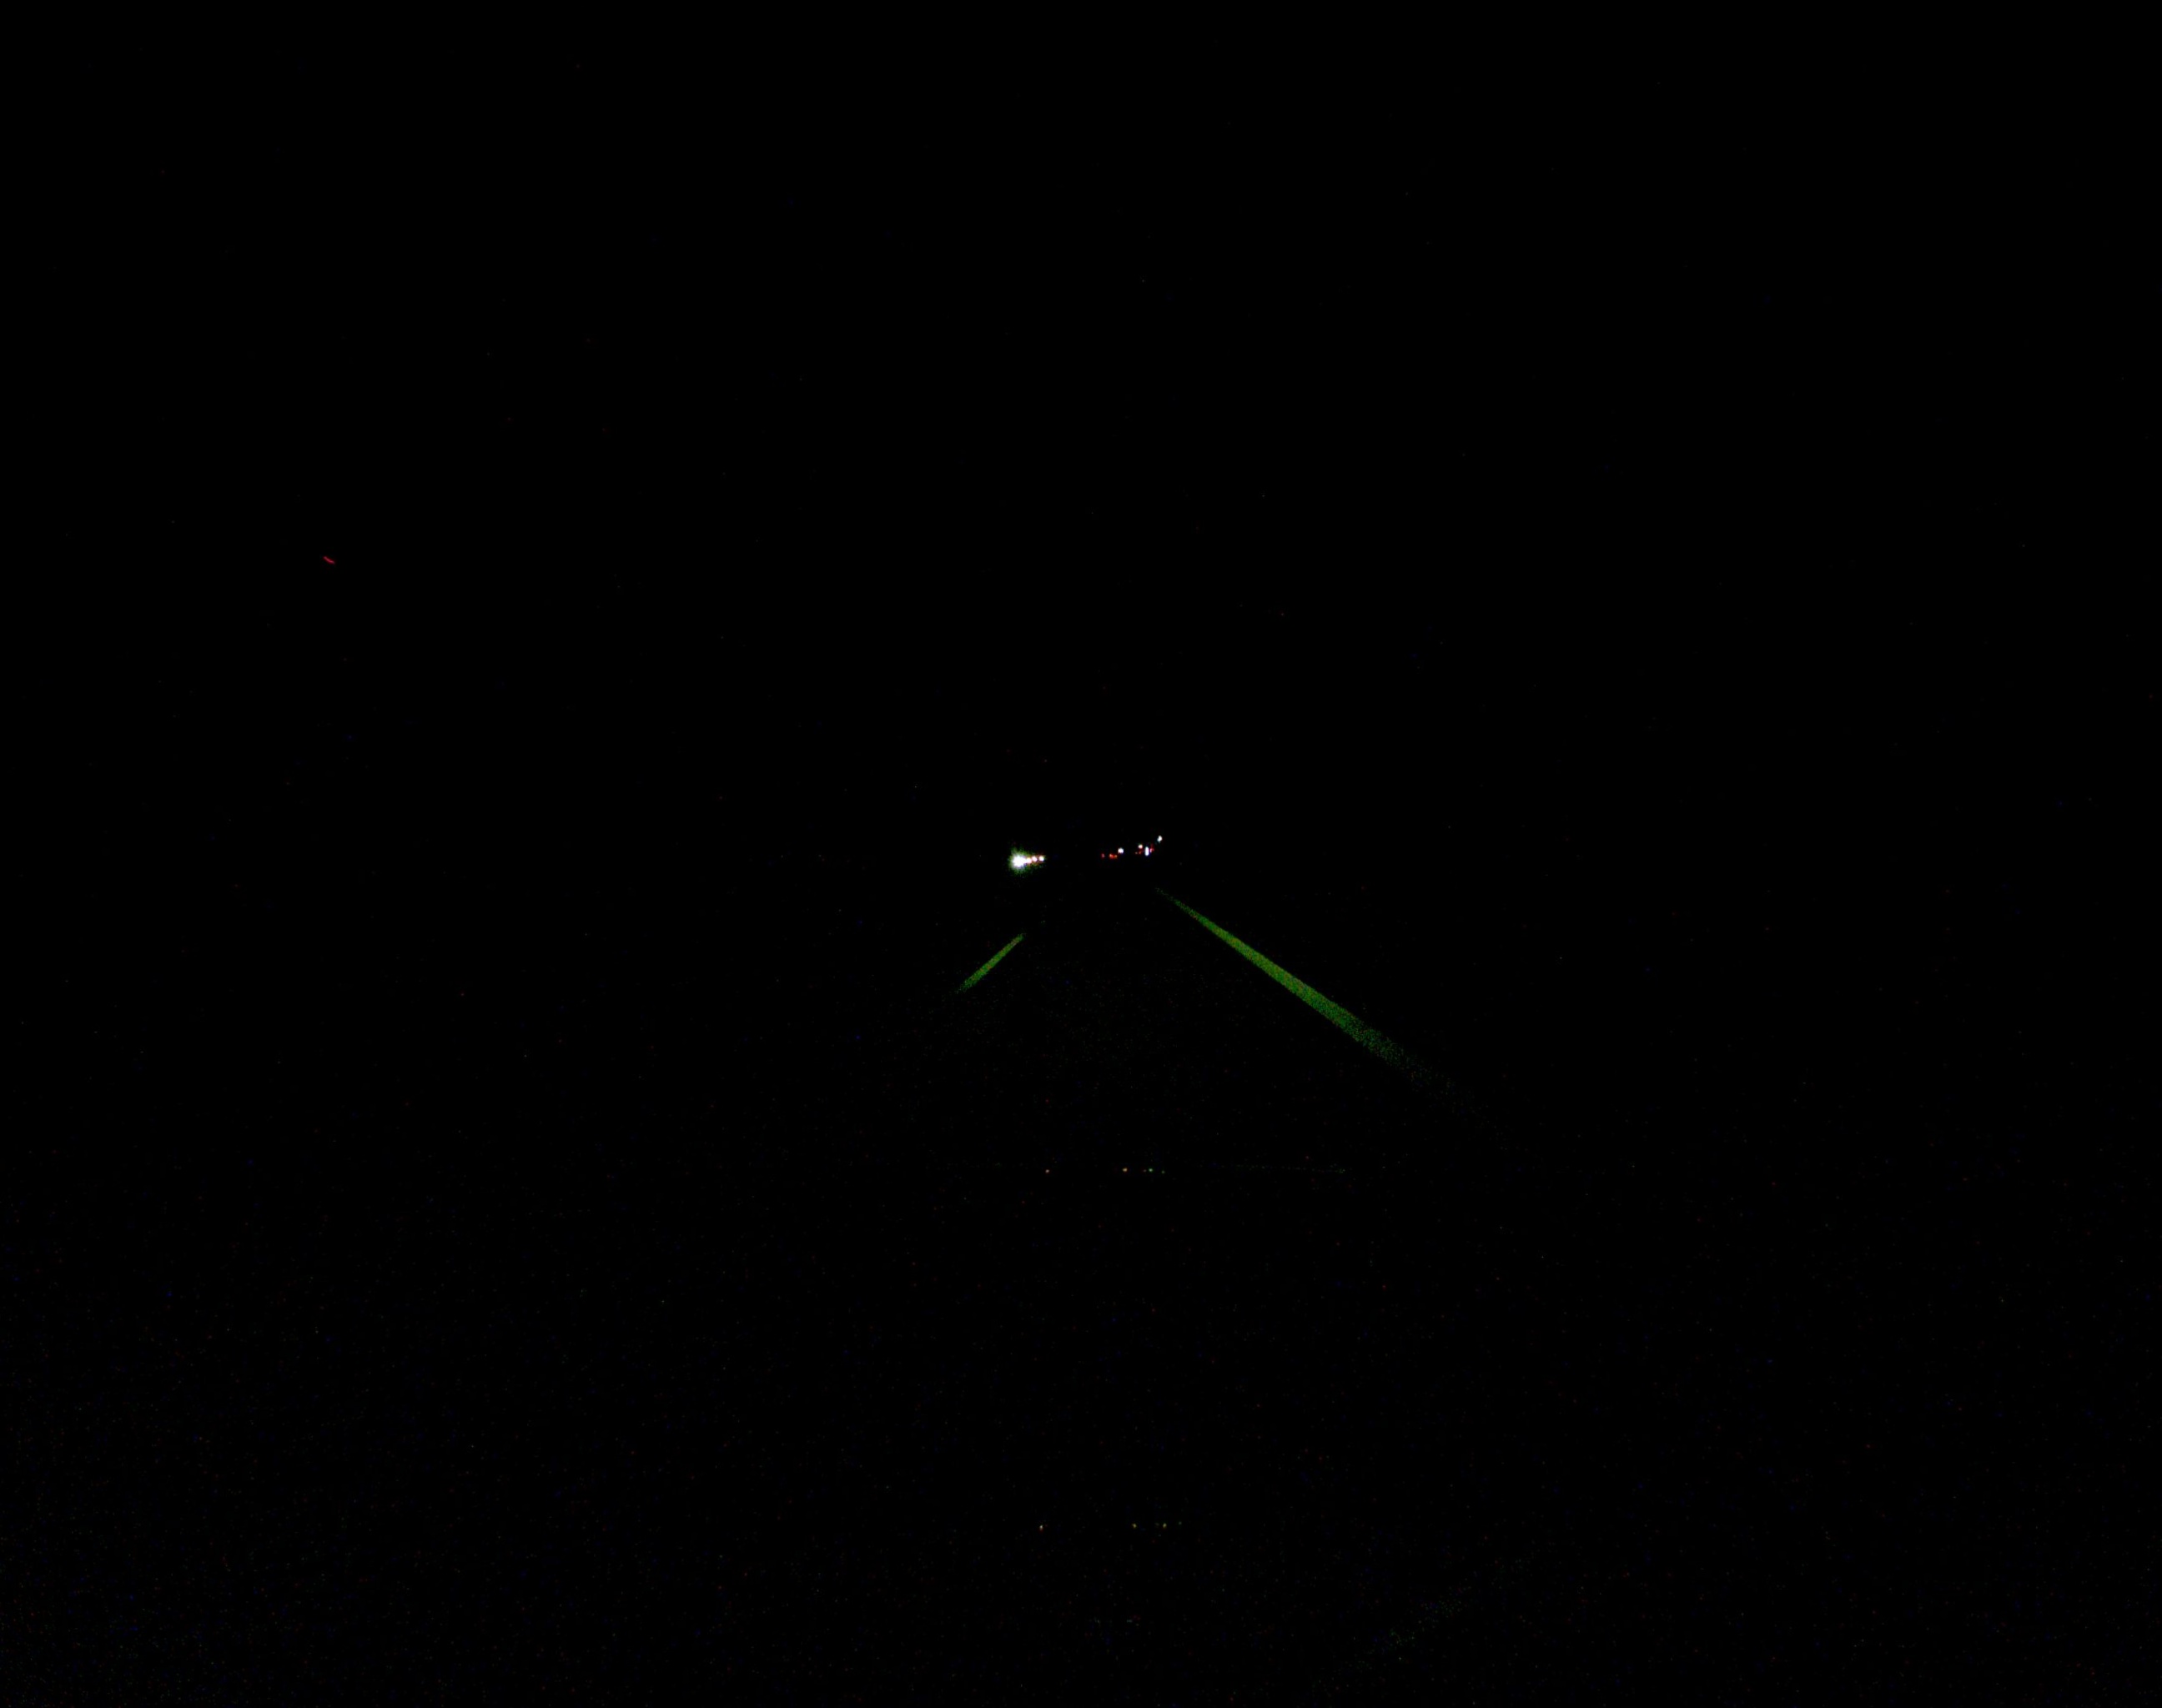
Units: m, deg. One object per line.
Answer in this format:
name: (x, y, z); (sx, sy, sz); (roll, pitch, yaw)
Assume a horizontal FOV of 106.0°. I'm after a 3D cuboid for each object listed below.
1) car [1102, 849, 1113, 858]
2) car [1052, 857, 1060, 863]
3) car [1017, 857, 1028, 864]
car: (6.750, -0.079, 205.267); (2.500, 2.314, 4.975); (-1, 0, 4)
car: (-7.217, 1.642, 231.658); (1.853, 1.498, 4.708); (-1, 0, 2)
car: (-13.795, 1.562, 192.980); (2.044, 1.598, 5.078); (-1, 0, 1)
